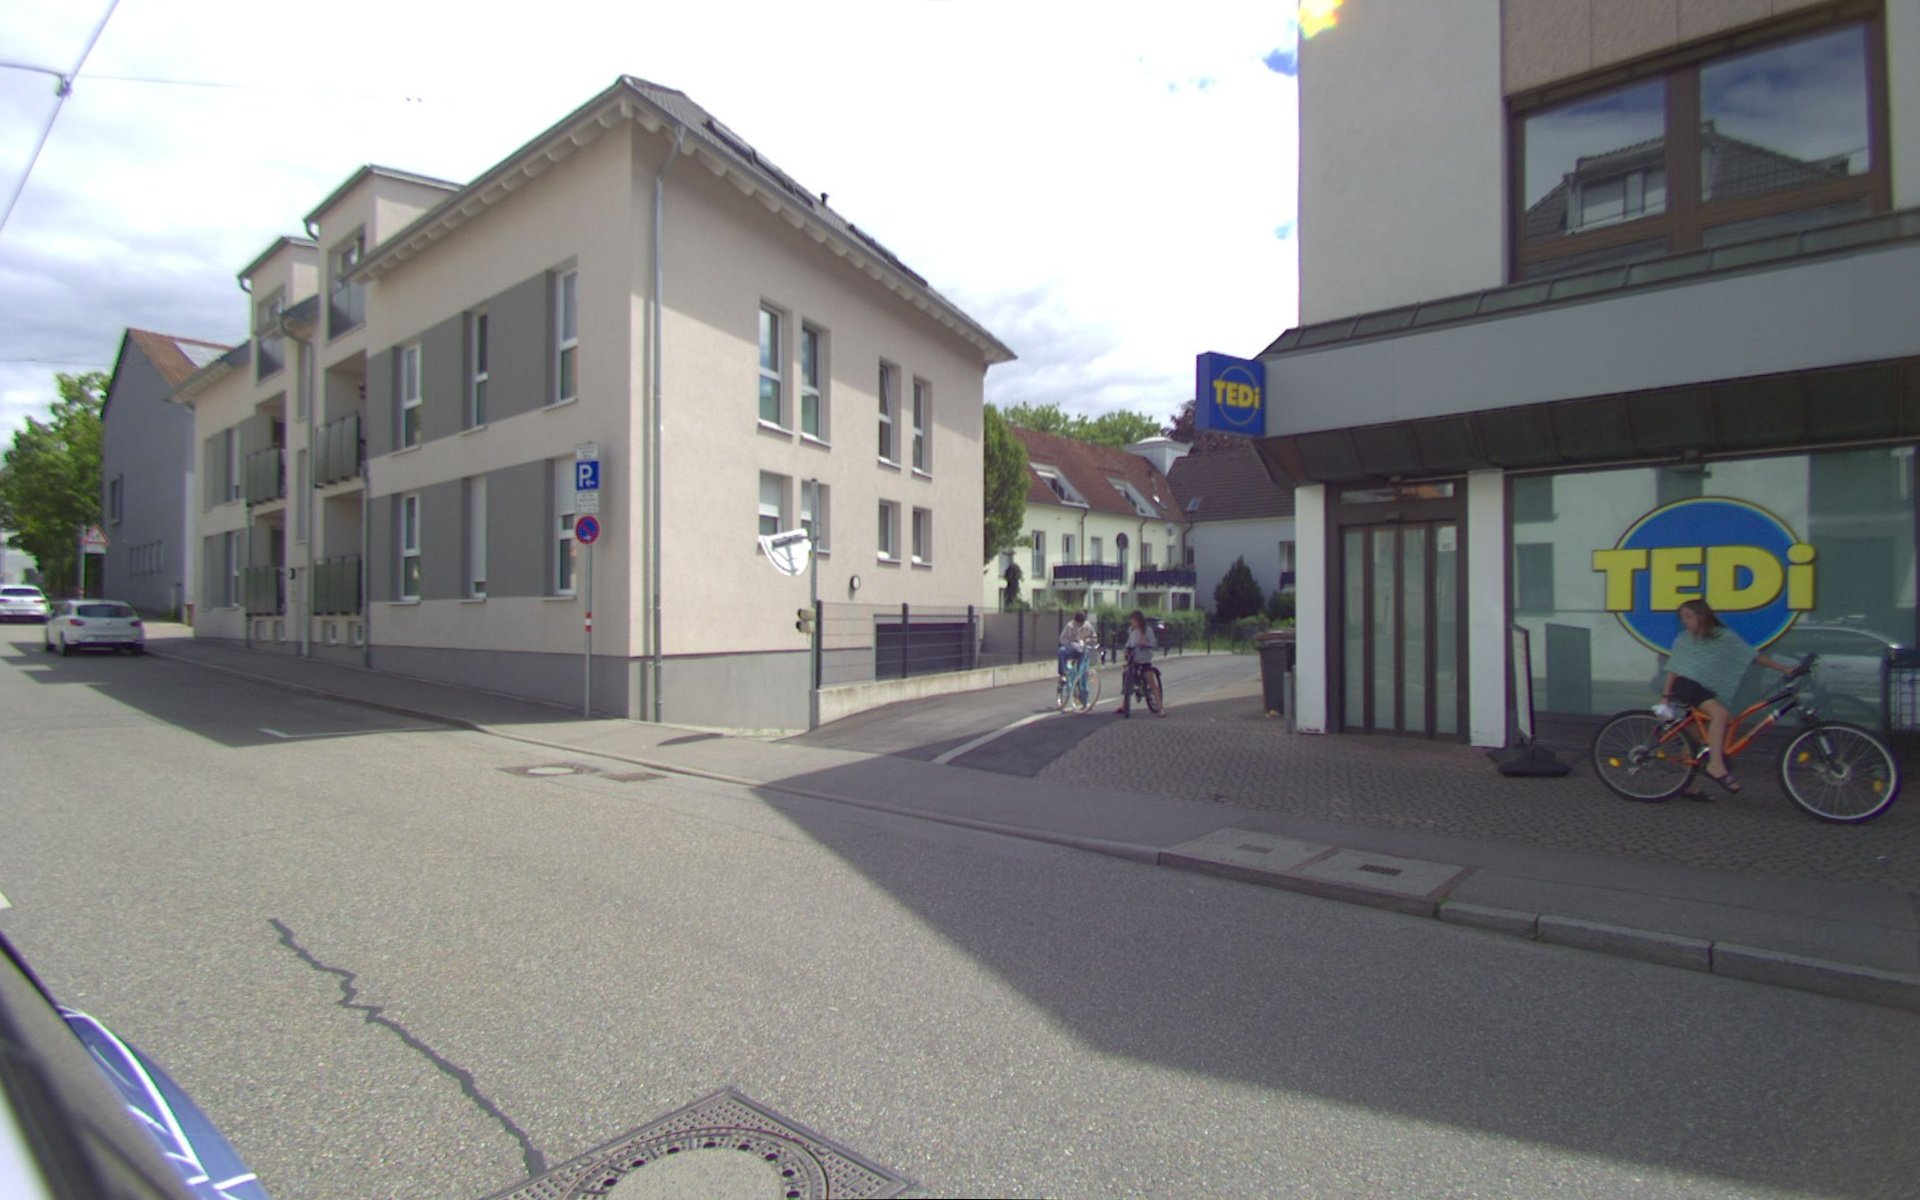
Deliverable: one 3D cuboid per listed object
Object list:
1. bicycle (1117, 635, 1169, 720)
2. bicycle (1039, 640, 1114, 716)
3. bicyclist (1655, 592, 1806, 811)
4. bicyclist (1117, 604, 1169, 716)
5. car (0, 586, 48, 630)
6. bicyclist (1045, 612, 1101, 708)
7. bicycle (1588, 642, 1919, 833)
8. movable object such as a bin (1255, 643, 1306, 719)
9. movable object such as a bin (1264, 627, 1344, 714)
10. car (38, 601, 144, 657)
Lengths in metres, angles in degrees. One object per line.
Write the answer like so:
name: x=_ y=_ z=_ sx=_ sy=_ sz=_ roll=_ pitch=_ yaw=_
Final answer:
bicycle: x=2.329 y=0.945 z=12.782 sx=0.550 sy=0.961 sz=1.684 roll=-1 pitch=-1 yaw=13
bicycle: x=1.514 y=1.001 z=13.390 sx=0.451 sy=0.924 sz=1.593 roll=-1 pitch=-1 yaw=-13
bicyclist: x=5.173 y=0.631 z=6.792 sx=0.761 sy=1.347 sz=0.660 roll=0 pitch=2 yaw=41
bicyclist: x=2.314 y=0.757 z=12.766 sx=0.583 sy=1.376 sz=0.423 roll=-2 pitch=-2 yaw=13
car: x=-36.338 y=0.277 z=38.713 sx=4.066 sy=1.499 sz=1.714 roll=2 pitch=0 yaw=42
bicyclist: x=1.500 y=0.784 z=13.464 sx=0.631 sy=1.251 sz=0.428 roll=0 pitch=0 yaw=-16
bicycle: x=5.216 y=0.847 z=6.712 sx=1.733 sy=1.058 sz=0.439 roll=0 pitch=2 yaw=41
movable object such as a bin: x=3.998 y=1.005 z=12.621 sx=0.443 sy=0.918 sz=0.403 roll=-4 pitch=-3 yaw=41
movable object such as a bin: x=4.448 y=0.902 z=13.078 sx=0.737 sy=1.073 sz=0.677 roll=-4 pitch=-3 yaw=41
car: x=-22.984 y=0.746 z=26.734 sx=3.473 sy=1.340 sz=1.643 roll=1 pitch=-1 yaw=42
